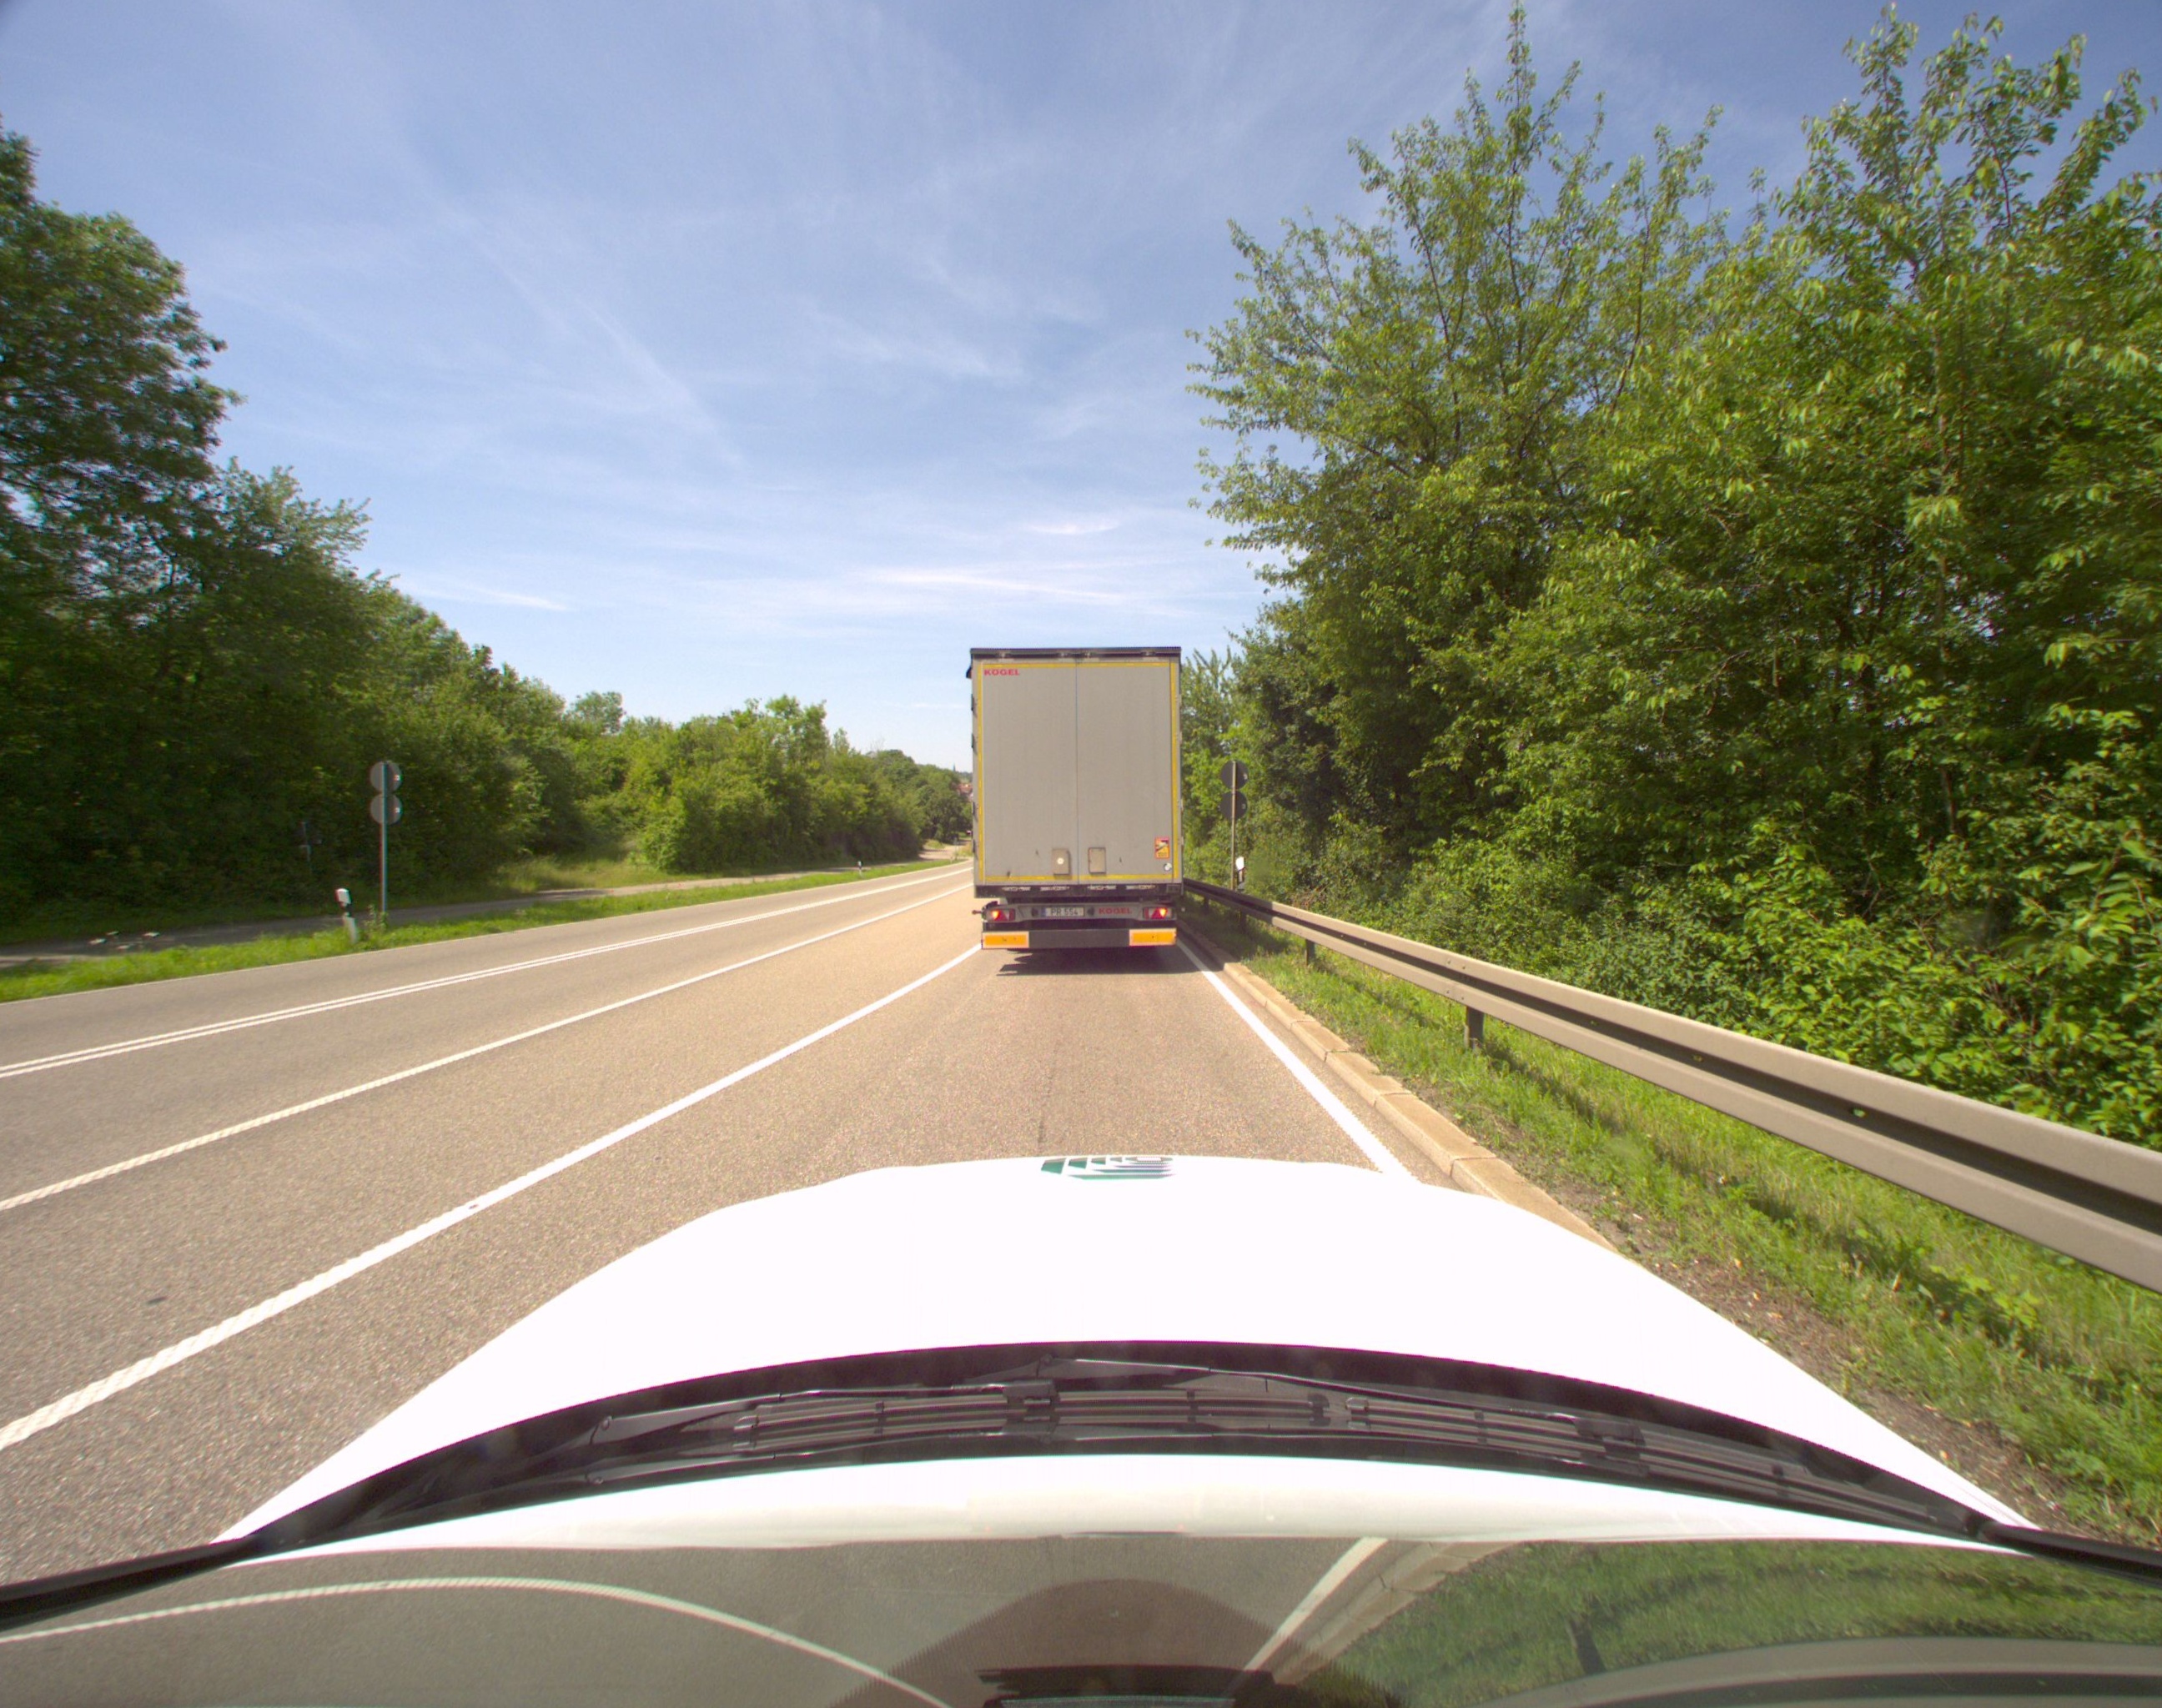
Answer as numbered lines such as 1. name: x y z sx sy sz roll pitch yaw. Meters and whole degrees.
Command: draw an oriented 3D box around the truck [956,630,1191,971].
1. truck: 0.016 -0.671 15.647 2.747 4.029 11.925 -1 0 1
